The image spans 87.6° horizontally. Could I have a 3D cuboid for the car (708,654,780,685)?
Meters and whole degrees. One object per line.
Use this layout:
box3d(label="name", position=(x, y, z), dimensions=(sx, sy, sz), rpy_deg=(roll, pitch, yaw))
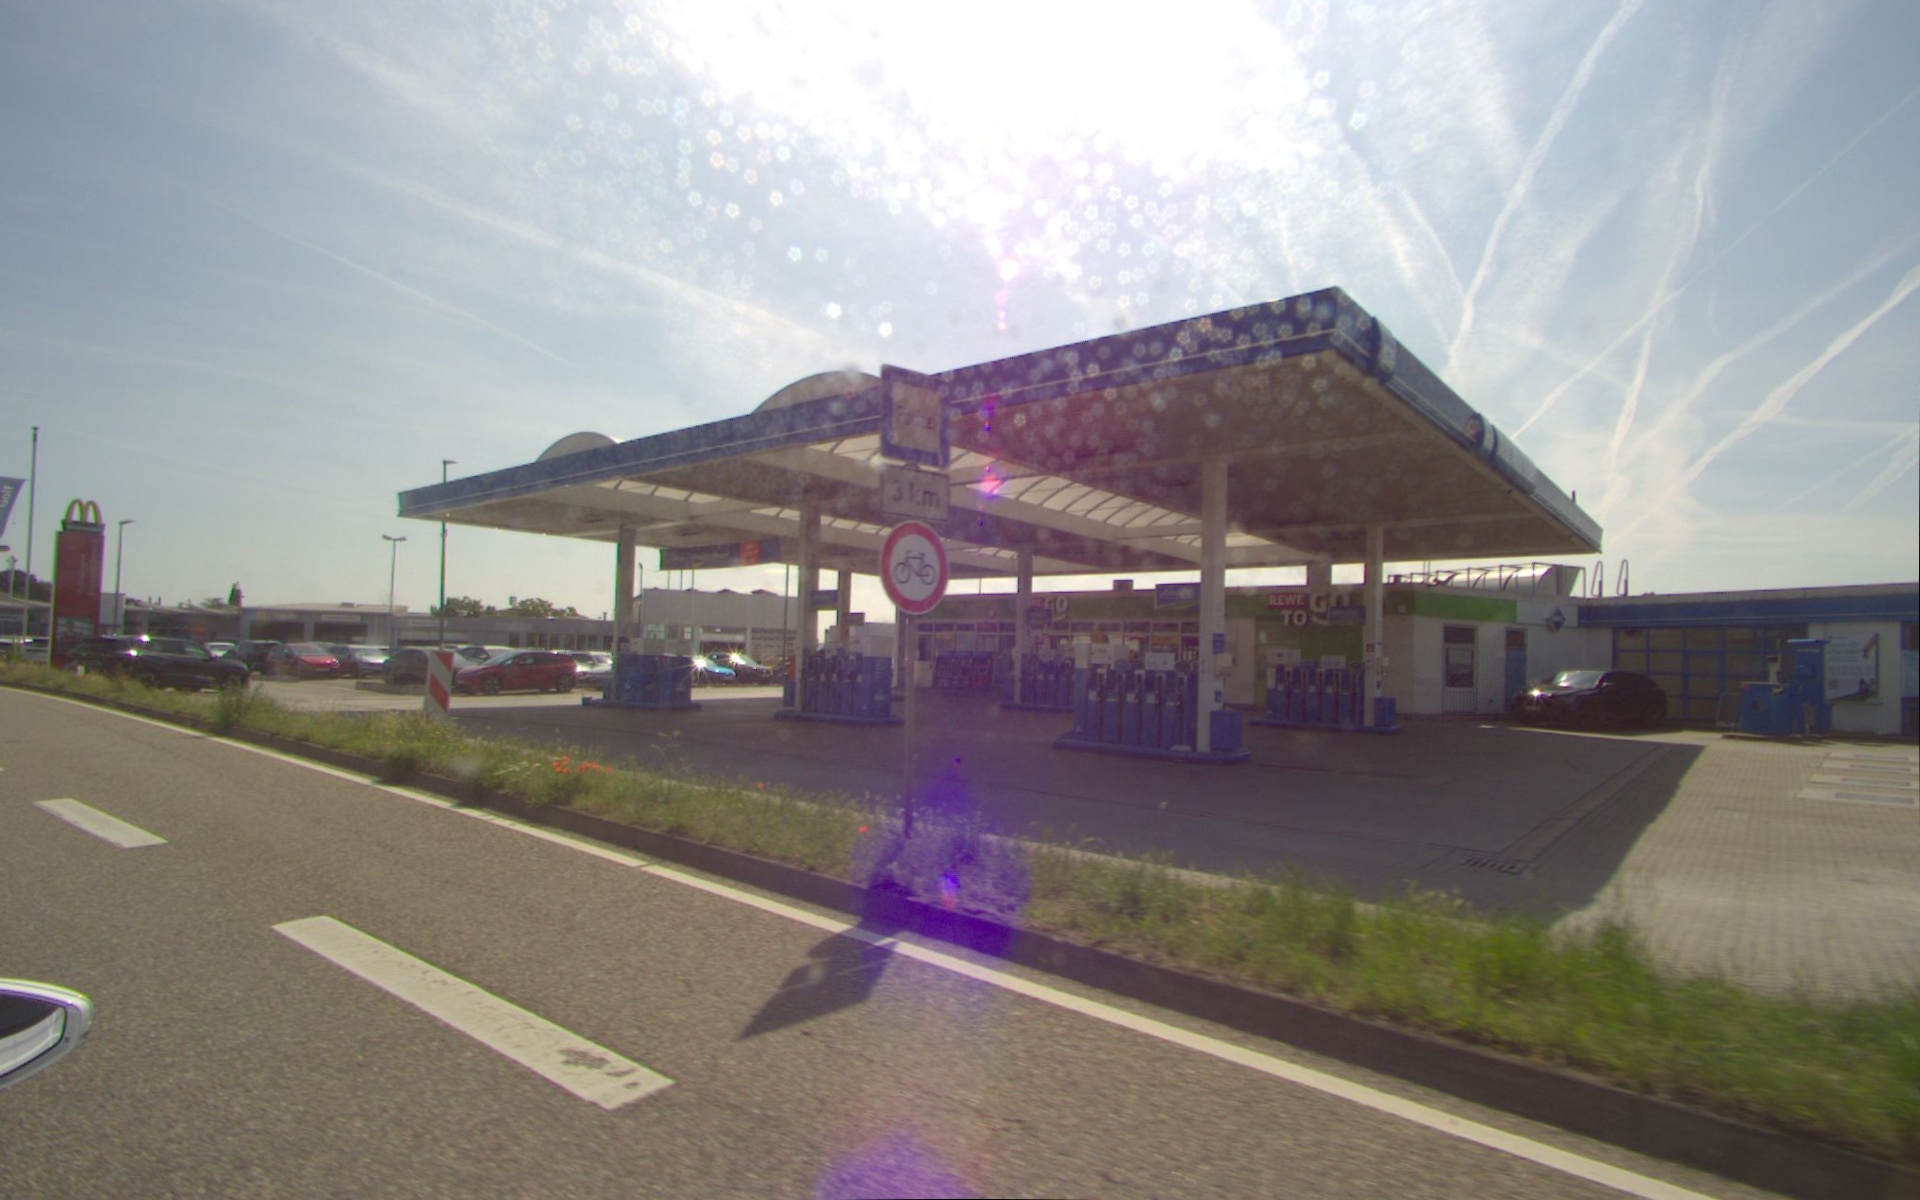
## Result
box3d(label="car", position=(-10.851, 3.455, 50.151), dimensions=(3.547, 1.427, 1.554), rpy_deg=(-1, -1, 35))

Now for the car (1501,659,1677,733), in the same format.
box3d(label="car", position=(17.916, 2.748, 28.515), dimensions=(4.659, 1.847, 1.899), rpy_deg=(5, -5, -22))

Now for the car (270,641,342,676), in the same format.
box3d(label="car", position=(-29.436, 2.598, 45.048), dimensions=(3.547, 1.427, 1.554), rpy_deg=(-1, -1, 35))

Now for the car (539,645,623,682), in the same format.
box3d(label="car", position=(-16.801, 2.774, 44.333), dimensions=(3.809, 1.461, 1.609), rpy_deg=(-1, -1, 35))

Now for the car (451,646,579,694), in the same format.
box3d(label="car", position=(-16.172, 2.531, 36.528), dimensions=(1.785, 1.592, 3.889), rpy_deg=(-1, -3, 39))

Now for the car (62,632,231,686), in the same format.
box3d(label="car", position=(-23.245, 1.637, 28.782), dimensions=(1.534, 1.427, 3.594), rpy_deg=(0, -1, 12))

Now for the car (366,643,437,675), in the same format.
box3d(label="car", position=(-26.823, 2.807, 48.066), dimensions=(3.546, 1.427, 1.555), rpy_deg=(-1, -1, 34))

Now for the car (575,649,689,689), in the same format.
box3d(label="car", position=(-13.280, 2.782, 40.783), dimensions=(1.542, 1.513, 4.319), rpy_deg=(0, -3, 35))

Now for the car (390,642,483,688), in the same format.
box3d(label="car", position=(-20.044, 2.435, 38.317), dimensions=(3.809, 1.615, 1.609), rpy_deg=(-1, -1, 35))

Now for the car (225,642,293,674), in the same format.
box3d(label="car", position=(-33.481, 2.746, 47.818), dimensions=(3.547, 1.427, 1.554), rpy_deg=(-1, -1, 35))

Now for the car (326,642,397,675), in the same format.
box3d(label="car", position=(-27.914, 2.703, 46.667), dimensions=(3.547, 1.427, 1.554), rpy_deg=(-1, -1, 35))

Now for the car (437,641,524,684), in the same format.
box3d(label="car", position=(-19.537, 2.504, 40.774), dimensions=(3.809, 1.615, 1.554), rpy_deg=(-1, -1, 35))

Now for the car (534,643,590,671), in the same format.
box3d(label="car", position=(-21.961, 3.136, 55.188), dimensions=(3.651, 1.427, 1.549), rpy_deg=(-1, -2, 45))

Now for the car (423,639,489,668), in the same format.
box3d(label="car", position=(-26.044, 2.747, 51.729), dimensions=(3.640, 1.427, 1.554), rpy_deg=(-1, -1, 35))
